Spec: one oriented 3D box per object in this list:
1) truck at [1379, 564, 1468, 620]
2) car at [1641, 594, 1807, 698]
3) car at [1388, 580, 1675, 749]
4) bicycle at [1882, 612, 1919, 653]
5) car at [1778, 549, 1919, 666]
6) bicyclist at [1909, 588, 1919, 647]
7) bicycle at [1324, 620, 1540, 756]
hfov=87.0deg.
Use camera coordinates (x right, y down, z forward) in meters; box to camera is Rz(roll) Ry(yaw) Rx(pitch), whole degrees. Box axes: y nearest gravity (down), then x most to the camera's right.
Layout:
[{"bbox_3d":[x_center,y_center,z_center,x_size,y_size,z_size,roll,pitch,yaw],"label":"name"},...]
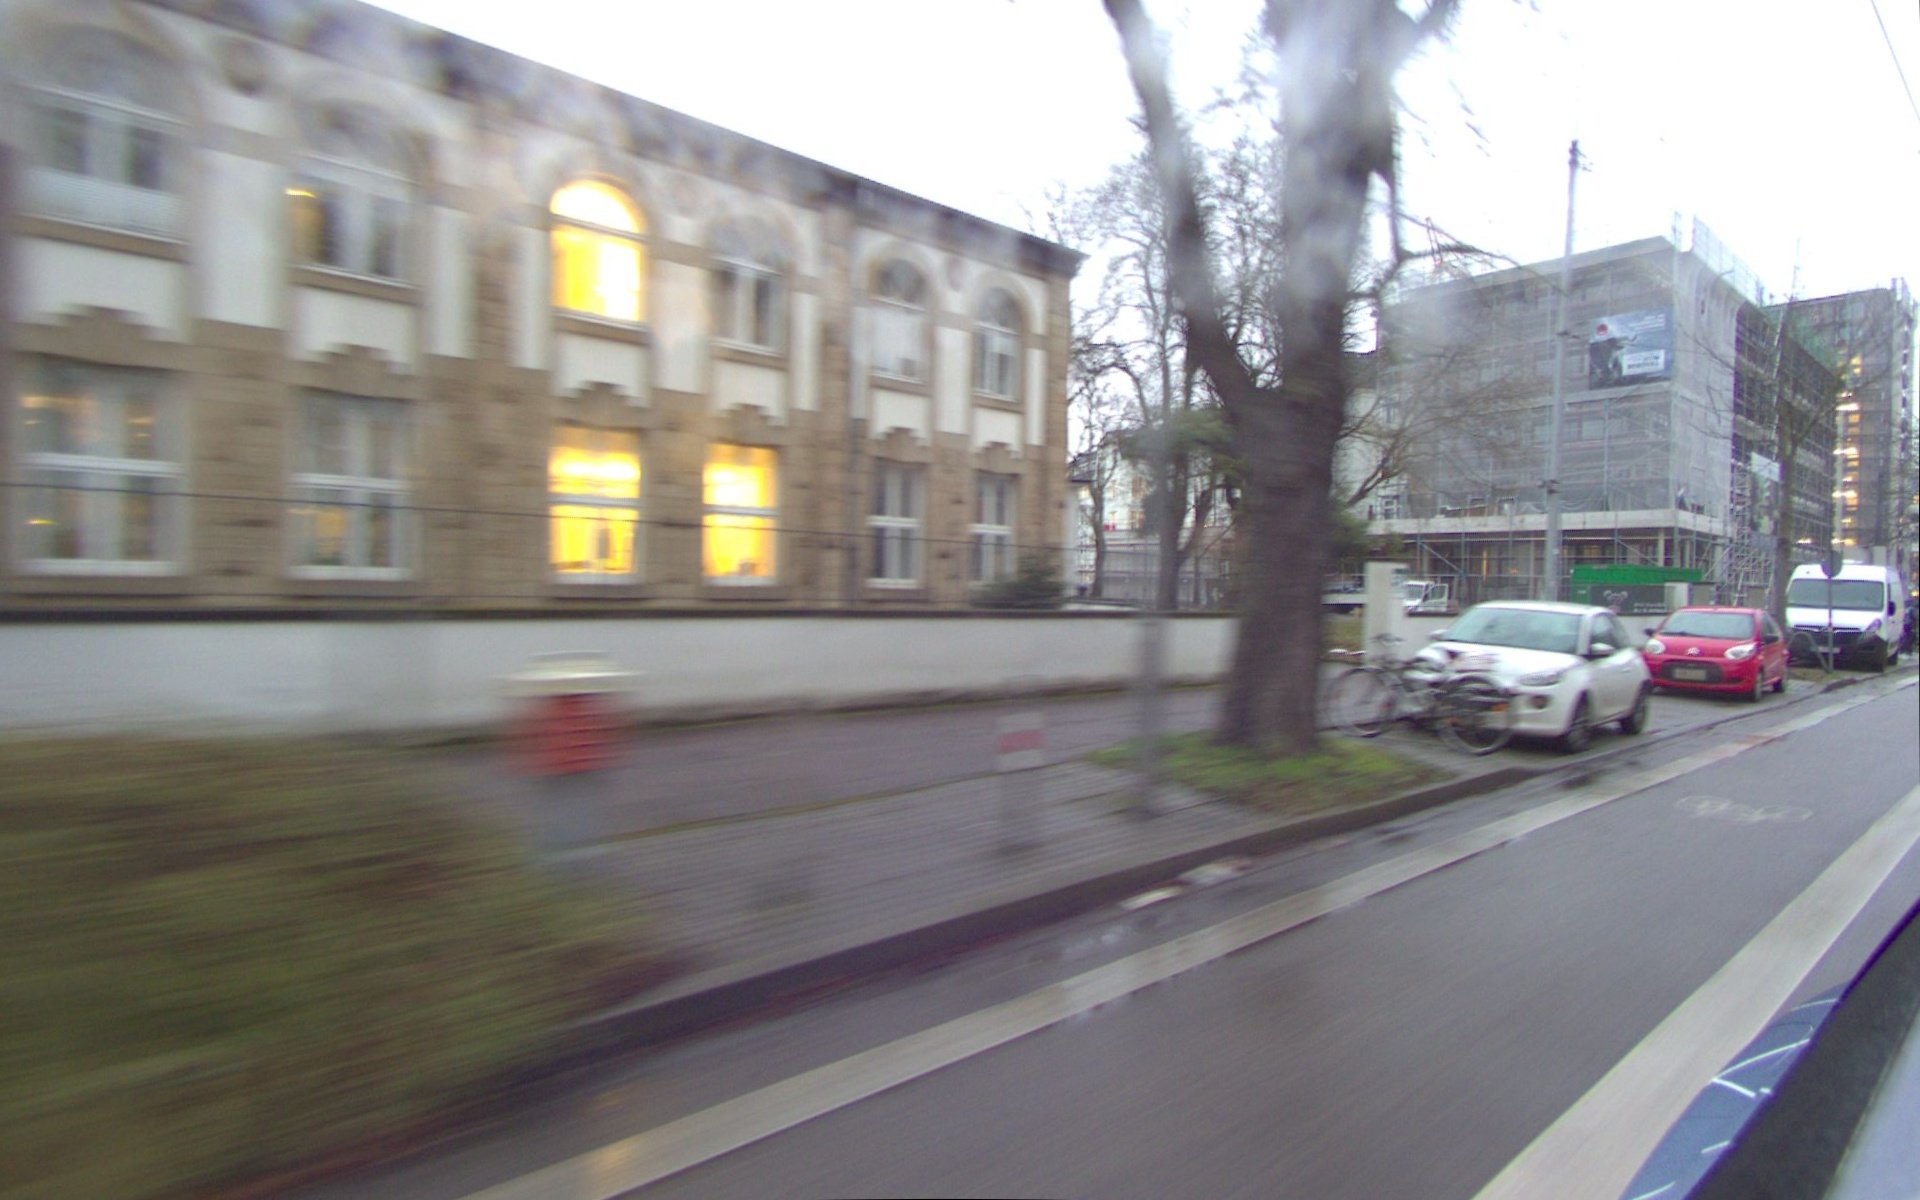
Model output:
[{"bbox_3d":[23.719,-0.473,51.615,2.124,2.620,6.974,2,2,42],"label":"truck"},{"bbox_3d":[12.793,0.689,16.885,3.512,1.542,1.645,1,0,-43],"label":"car"},{"bbox_3d":[6.405,0.601,11.207,3.574,1.539,1.694,1,1,-42],"label":"car"},{"bbox_3d":[28.250,0.970,29.529,1.881,1.147,0.722,2,1,34],"label":"bicycle"},{"bbox_3d":[21.643,0.168,24.480,5.347,2.518,2.126,1,1,-43],"label":"car"},{"bbox_3d":[28.292,0.514,29.507,0.766,1.710,0.698,2,0,33],"label":"bicyclist"},{"bbox_3d":[4.403,0.773,9.548,0.651,1.084,1.716,1,1,-40],"label":"bicycle"}]
